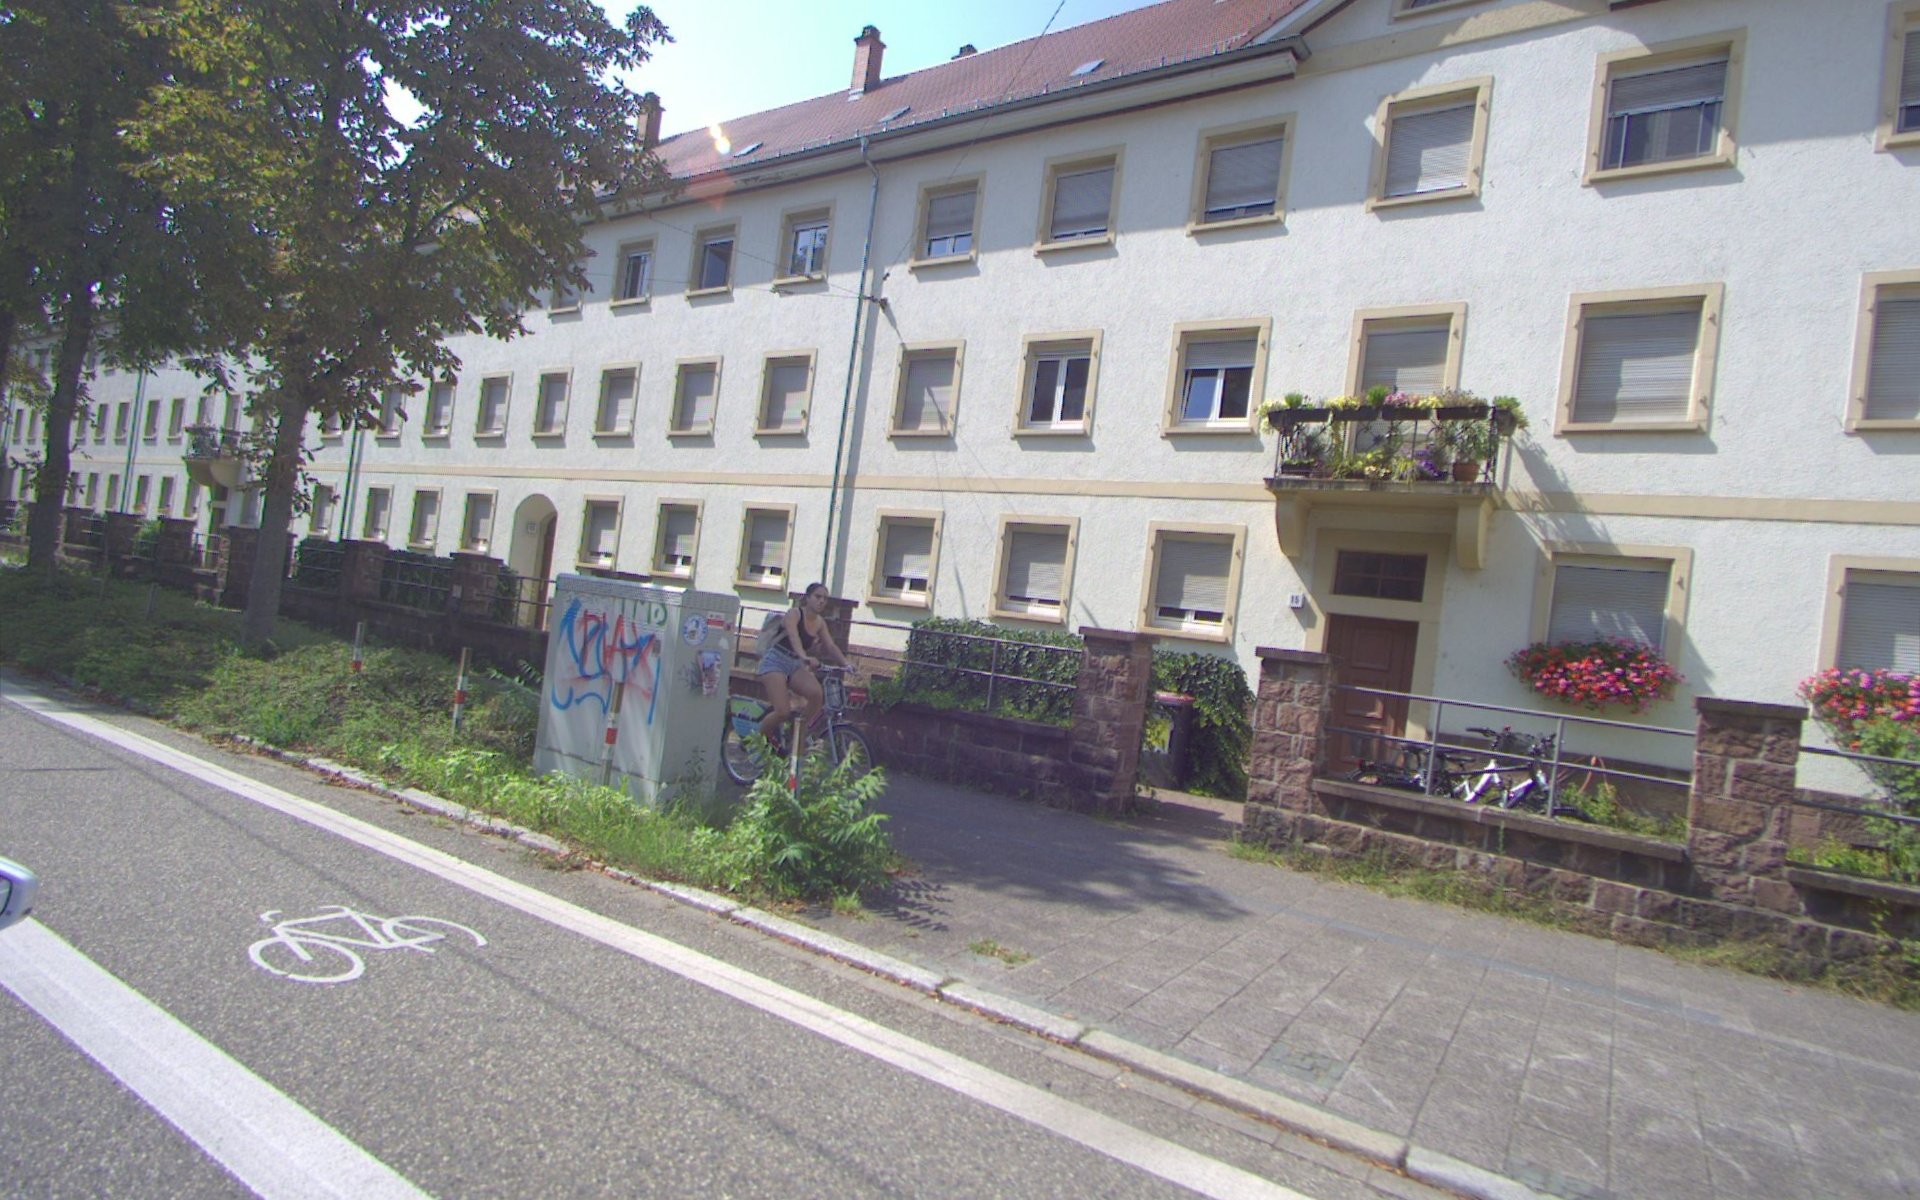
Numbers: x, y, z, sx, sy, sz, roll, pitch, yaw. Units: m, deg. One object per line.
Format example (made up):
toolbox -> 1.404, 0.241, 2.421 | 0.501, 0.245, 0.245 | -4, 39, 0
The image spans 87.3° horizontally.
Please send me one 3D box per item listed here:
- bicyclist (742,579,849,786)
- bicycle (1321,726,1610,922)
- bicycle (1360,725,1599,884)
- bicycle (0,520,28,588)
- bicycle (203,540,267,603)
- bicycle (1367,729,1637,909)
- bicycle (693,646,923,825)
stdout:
bicyclist -> -1.289, 0.643, 7.904 | 0.464, 1.529, 0.438 | 7, -1, 31
bicycle -> 3.766, 1.623, 7.594 | 1.799, 1.059, 0.441 | 7, -1, 32
bicycle -> 4.699, 1.815, 9.186 | 1.799, 1.059, 0.441 | 7, -1, 32
bicycle -> -16.344, -0.816, 16.671 | 0.382, 1.121, 1.393 | 8, -2, 0
bicycle -> -15.734, -0.623, 21.817 | 1.690, 1.174, 0.468 | 7, -1, 34
bicycle -> 4.379, 1.729, 8.223 | 1.799, 1.059, 0.441 | 7, -1, 32
bicycle -> -1.213, 1.008, 7.824 | 1.799, 1.059, 0.441 | 7, -1, 32
